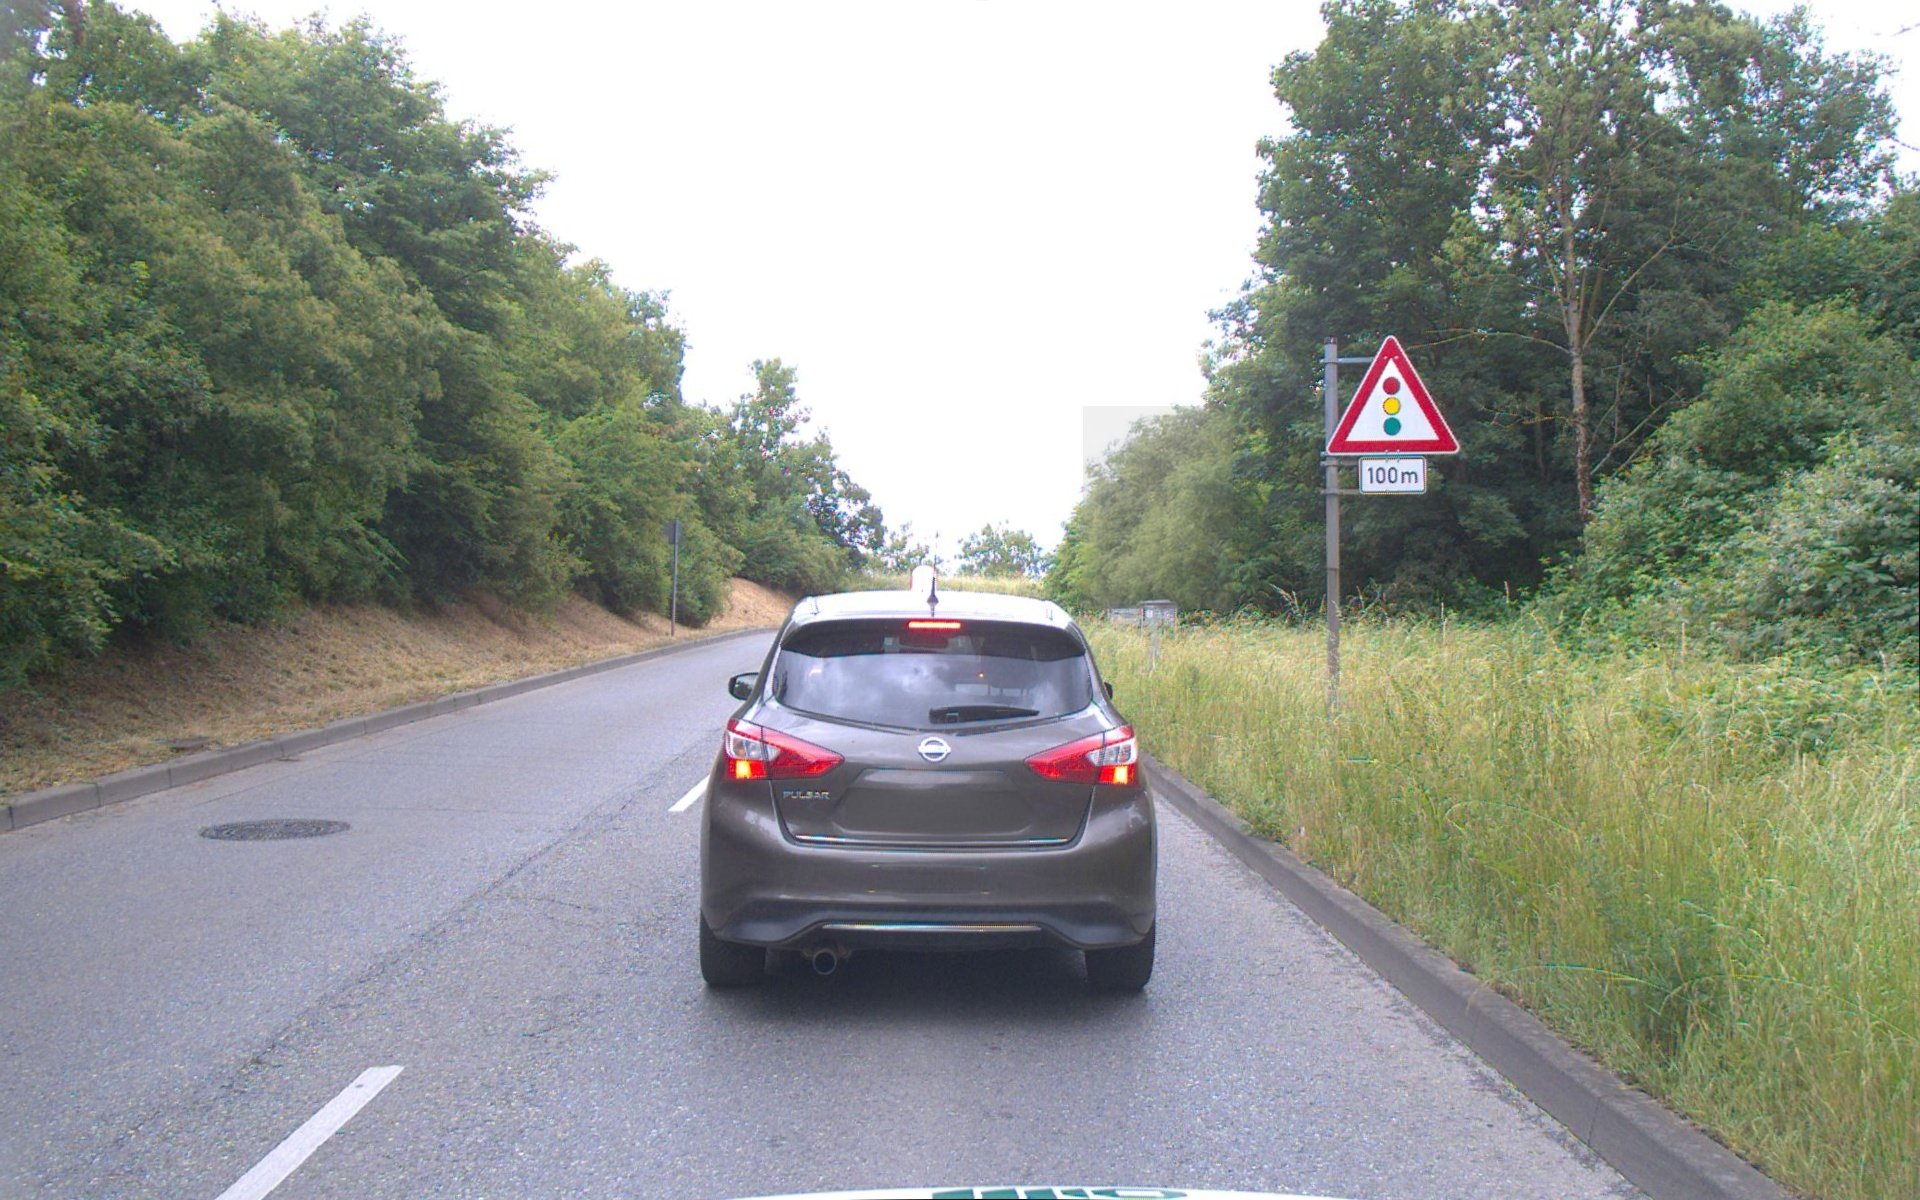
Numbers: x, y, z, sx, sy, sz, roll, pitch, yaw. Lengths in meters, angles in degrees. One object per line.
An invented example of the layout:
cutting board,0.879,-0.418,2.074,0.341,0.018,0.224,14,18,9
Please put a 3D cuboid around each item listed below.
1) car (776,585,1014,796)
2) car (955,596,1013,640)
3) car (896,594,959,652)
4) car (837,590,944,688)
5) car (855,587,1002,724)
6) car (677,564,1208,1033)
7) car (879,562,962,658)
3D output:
car,-0.501,0.676,14.276,1.793,1.583,3.624,0,0,-1
car,0.927,0.648,61.483,1.699,1.553,3.644,0,0,8
car,-0.915,0.616,46.177,1.701,1.553,3.542,0,0,-2
car,-1.138,0.624,28.453,1.700,1.583,3.543,0,0,-1
car,-0.379,0.630,20.866,1.700,1.583,3.543,0,0,-1
car,-0.123,0.670,7.371,1.793,1.583,3.497,1,0,-2
car,-0.885,0.194,35.747,1.701,1.968,3.542,0,0,-2
